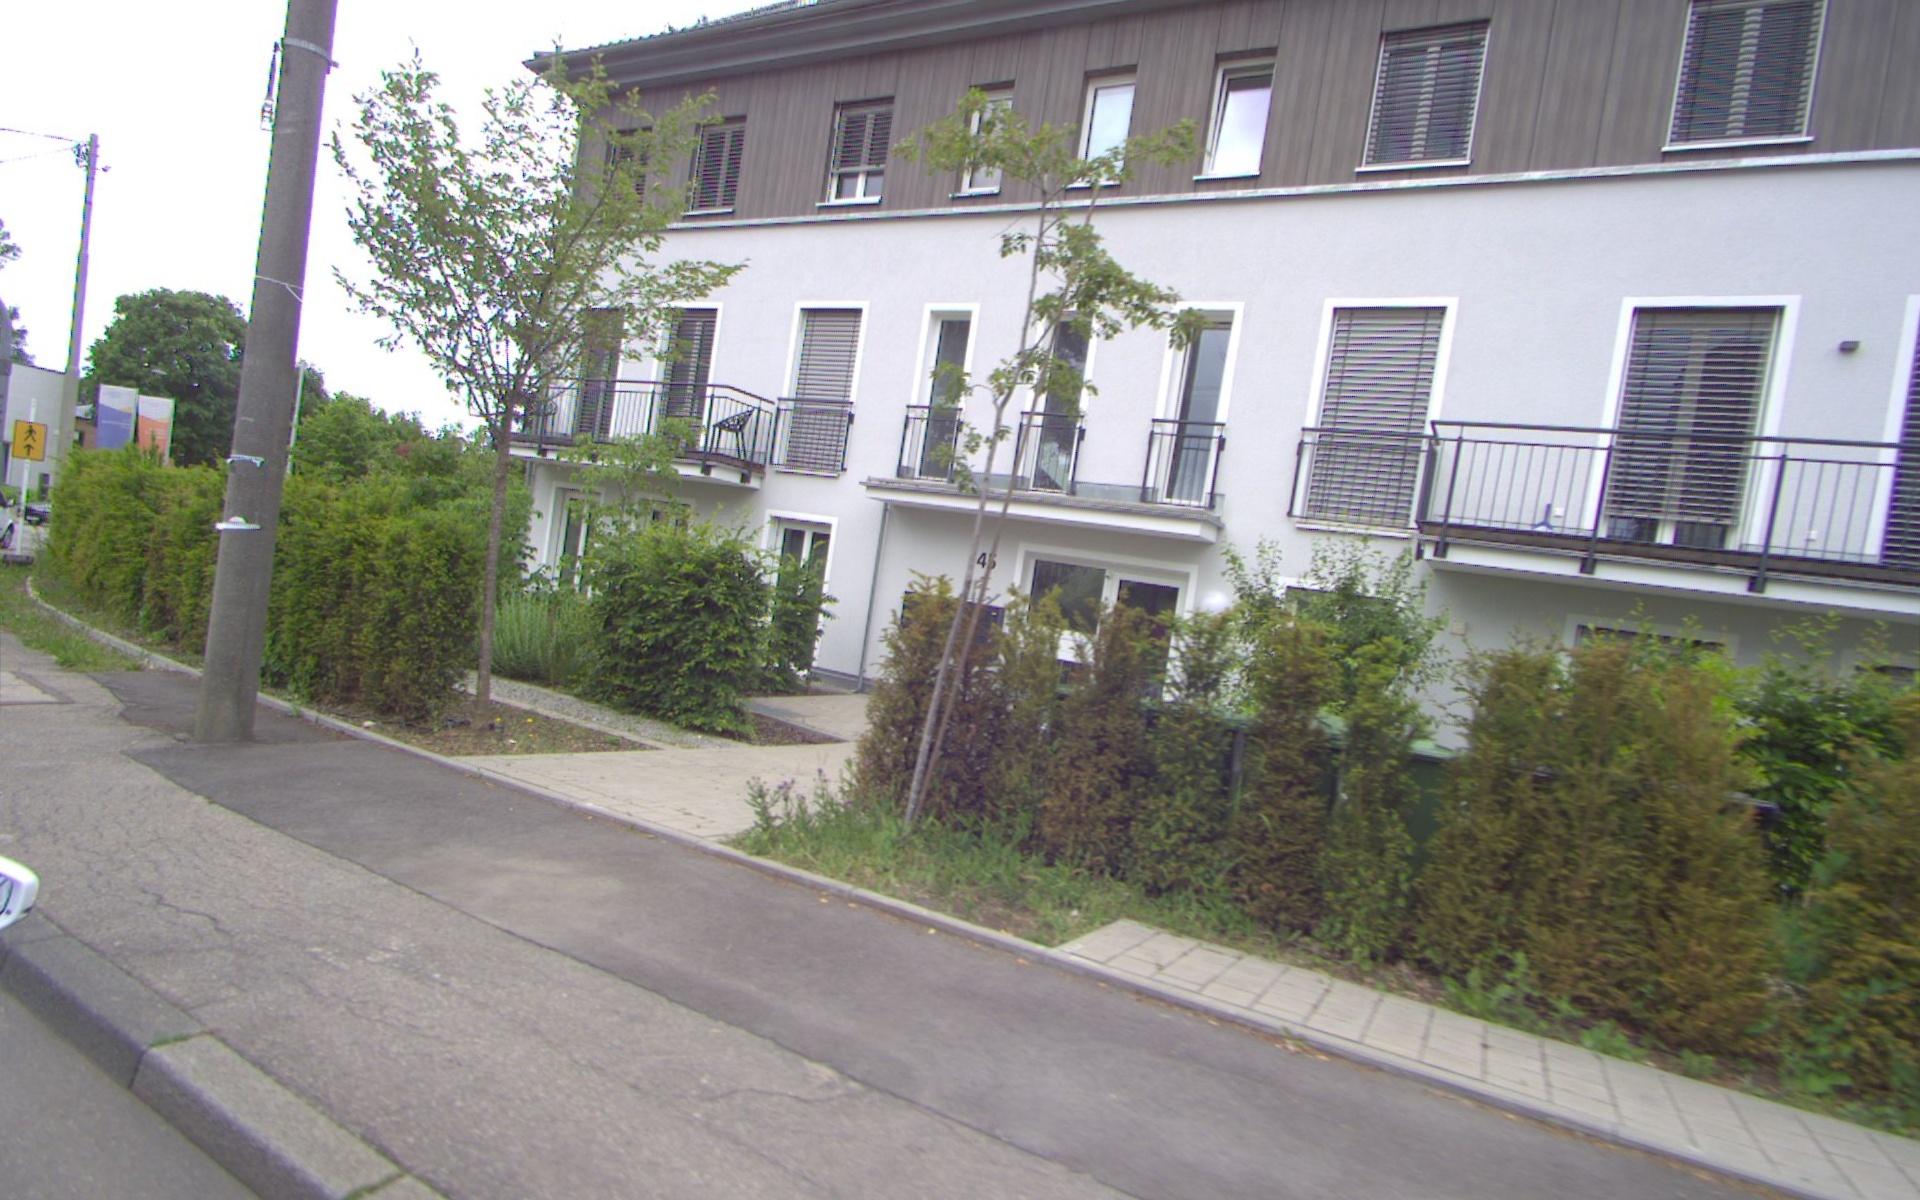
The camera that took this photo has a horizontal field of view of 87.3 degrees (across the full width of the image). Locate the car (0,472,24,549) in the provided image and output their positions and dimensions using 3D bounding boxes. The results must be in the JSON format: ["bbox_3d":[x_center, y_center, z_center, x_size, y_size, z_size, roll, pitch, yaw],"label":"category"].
[{"bbox_3d":[-25.798,-2.458,25.364,1.948,2.036,4.394,10,-2,-29],"label":"car"}]

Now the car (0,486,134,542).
[{"bbox_3d":[-37.340,-3.534,42.006,1.965,1.678,4.779,8,0,-7],"label":"car"}]
